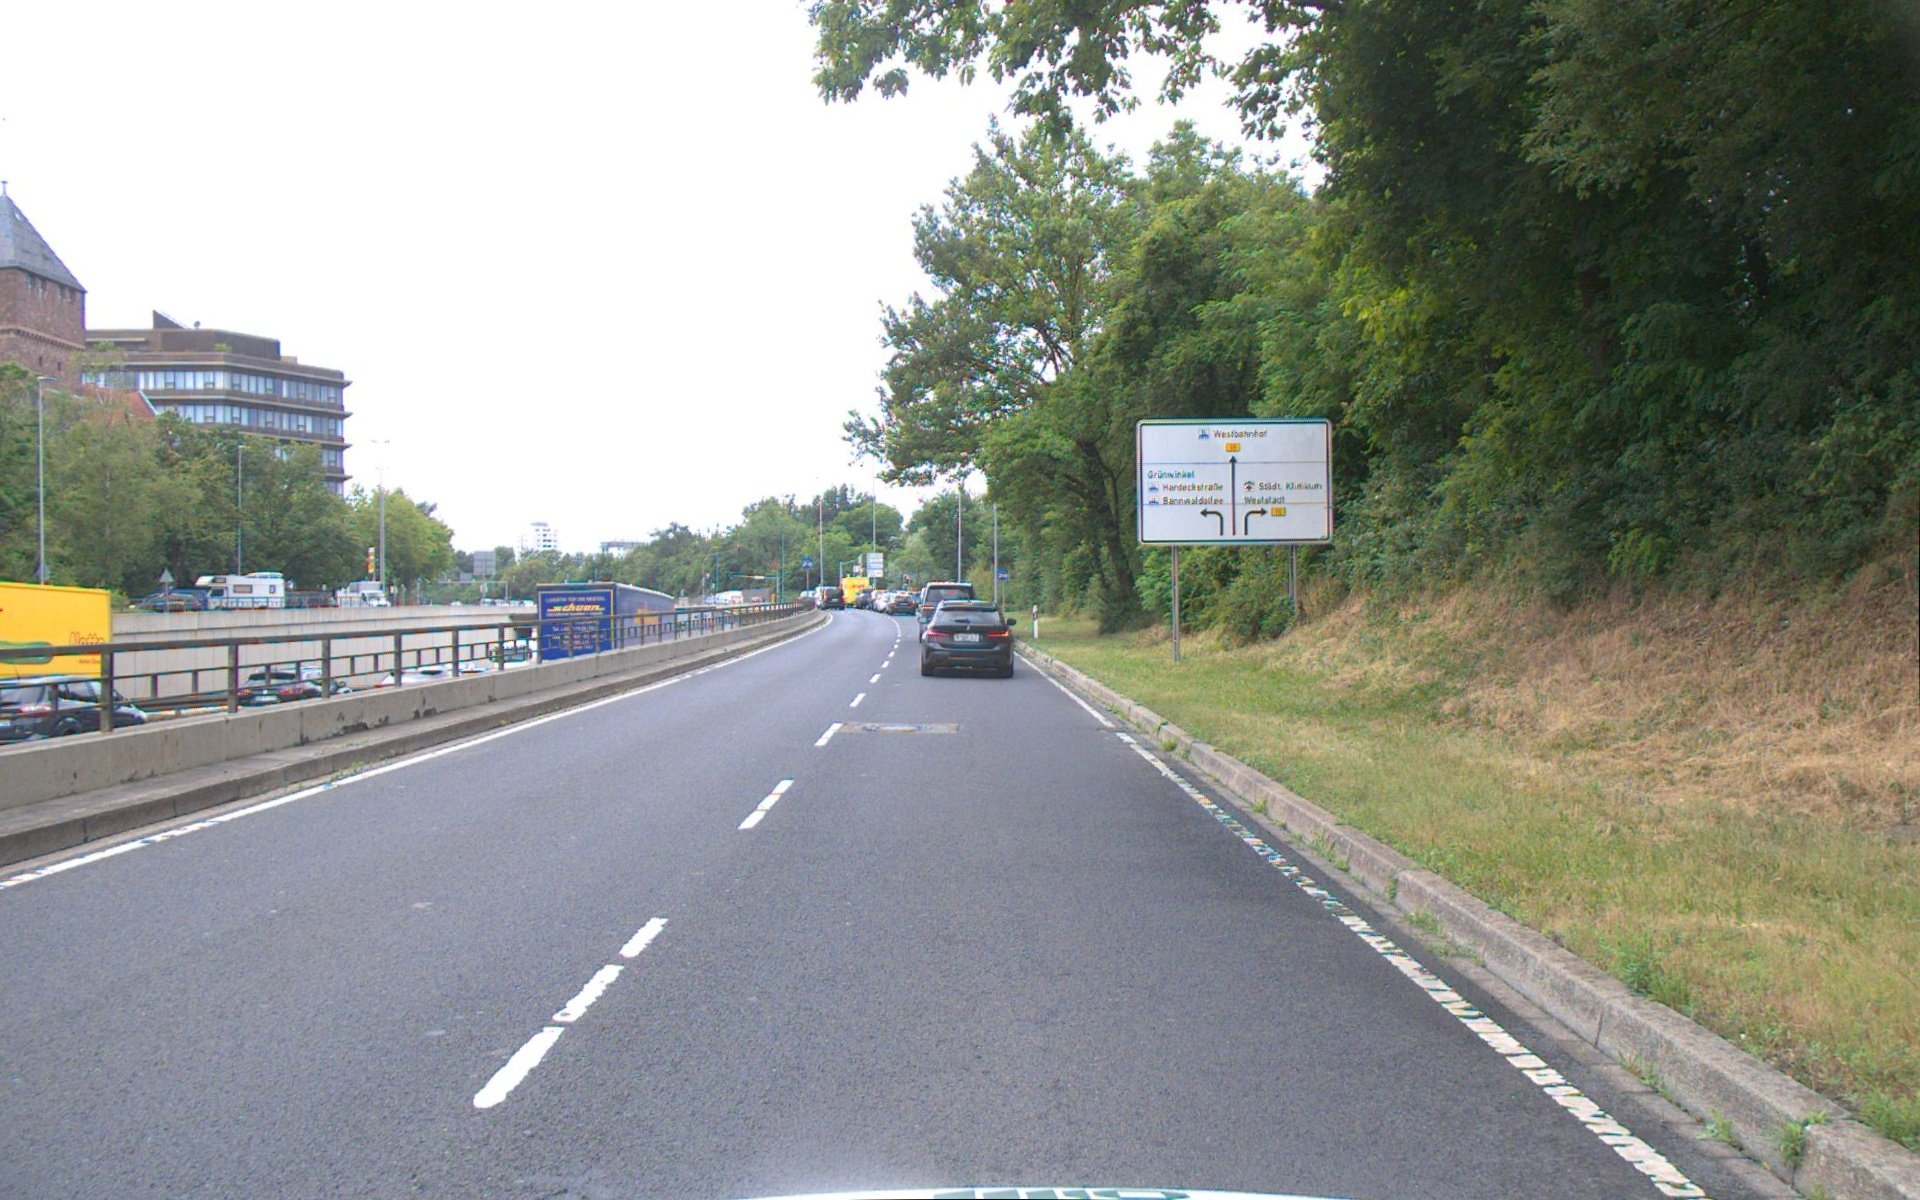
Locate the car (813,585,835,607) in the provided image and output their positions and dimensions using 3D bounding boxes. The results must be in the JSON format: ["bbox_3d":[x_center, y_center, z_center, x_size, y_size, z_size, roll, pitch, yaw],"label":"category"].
[{"bbox_3d":[-12.564,-0.354,152.642,1.849,2.022,4.423,1,0,-6],"label":"car"}]

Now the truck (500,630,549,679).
[{"bbox_3d":[-30.912,3.843,117.523,2.474,3.276,4.316,-1,-1,-3],"label":"truck"}]

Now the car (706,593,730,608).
[{"bbox_3d":[-29.581,0.067,201.929,1.589,1.731,4.300,1,0,10],"label":"car"}]

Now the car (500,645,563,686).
[{"bbox_3d":[-17.545,2.660,67.897,1.590,1.555,3.896,1,0,-1],"label":"car"}]

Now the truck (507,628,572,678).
[{"bbox_3d":[-31.106,3.882,122.861,2.474,3.410,11.043,-1,0,-3],"label":"truck"}]

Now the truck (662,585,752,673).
[{"bbox_3d":[-12.896,1.423,85.724,2.794,4.107,15.570,-1,0,-2],"label":"truck"}]

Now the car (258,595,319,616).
[{"bbox_3d":[-50.594,0.425,124.643,1.597,1.466,3.982,1,-1,38],"label":"car"}]

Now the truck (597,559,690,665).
[{"bbox_3d":[-12.921,0.509,67.921,2.794,4.107,6.094,-1,-1,-2],"label":"truck"}]

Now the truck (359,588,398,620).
[{"bbox_3d":[-56.055,0.391,159.378,1.997,3.039,7.020,1,0,-32],"label":"truck"}]

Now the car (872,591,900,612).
[{"bbox_3d":[-5.764,0.114,127.716,1.849,1.620,4.423,1,0,-6],"label":"car"}]

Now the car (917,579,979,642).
[{"bbox_3d":[-0.386,0.333,52.970,1.860,1.917,4.414,1,0,-1],"label":"car"}]

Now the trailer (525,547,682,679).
[{"bbox_3d":[-12.572,0.456,60.128,2.794,4.107,15.997,-1,0,-2],"label":"trailer"}]

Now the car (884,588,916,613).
[{"bbox_3d":[-4.156,0.060,113.304,1.849,1.620,4.423,1,0,-6],"label":"car"}]

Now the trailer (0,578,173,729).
[{"bbox_3d":[-27.300,1.490,48.077,2.473,4.107,13.773,-1,0,-1],"label":"trailer"}]

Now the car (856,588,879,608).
[{"bbox_3d":[-8.418,-0.156,149.749,1.849,1.730,4.423,1,0,-6],"label":"car"}]

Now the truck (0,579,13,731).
[{"bbox_3d":[-27.197,1.488,42.322,2.473,4.107,6.095,-1,-1,-1],"label":"truck"}]

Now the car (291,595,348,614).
[{"bbox_3d":[-51.365,0.358,132.692,1.597,1.466,3.982,1,-1,38],"label":"car"}]

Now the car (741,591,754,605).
[{"bbox_3d":[-27.949,-0.277,217.343,1.593,1.731,4.288,1,0,-8],"label":"car"}]

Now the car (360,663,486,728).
[{"bbox_3d":[-12.006,2.102,37.191,1.622,1.234,3.896,1,0,-1],"label":"car"}]

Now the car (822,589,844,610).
[{"bbox_3d":[-11.095,-0.030,144.664,1.593,1.731,4.288,1,0,-8],"label":"car"}]

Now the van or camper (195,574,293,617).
[{"bbox_3d":[-49.509,-0.289,114.490,2.109,2.859,5.884,0,-1,44],"label":"van or camper"}]

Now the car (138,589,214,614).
[{"bbox_3d":[-48.683,0.119,102.756,1.597,1.466,3.982,1,-1,38],"label":"car"}]

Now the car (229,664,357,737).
[{"bbox_3d":[-16.346,2.434,40.718,1.590,1.555,3.896,1,0,-1],"label":"car"}]

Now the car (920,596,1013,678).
[{"bbox_3d":[0.150,0.676,32.795,1.712,1.451,4.462,0,1,1],"label":"car"}]

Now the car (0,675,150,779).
[{"bbox_3d":[-16.249,2.207,29.602,1.622,1.555,3.896,1,0,-1],"label":"car"}]
